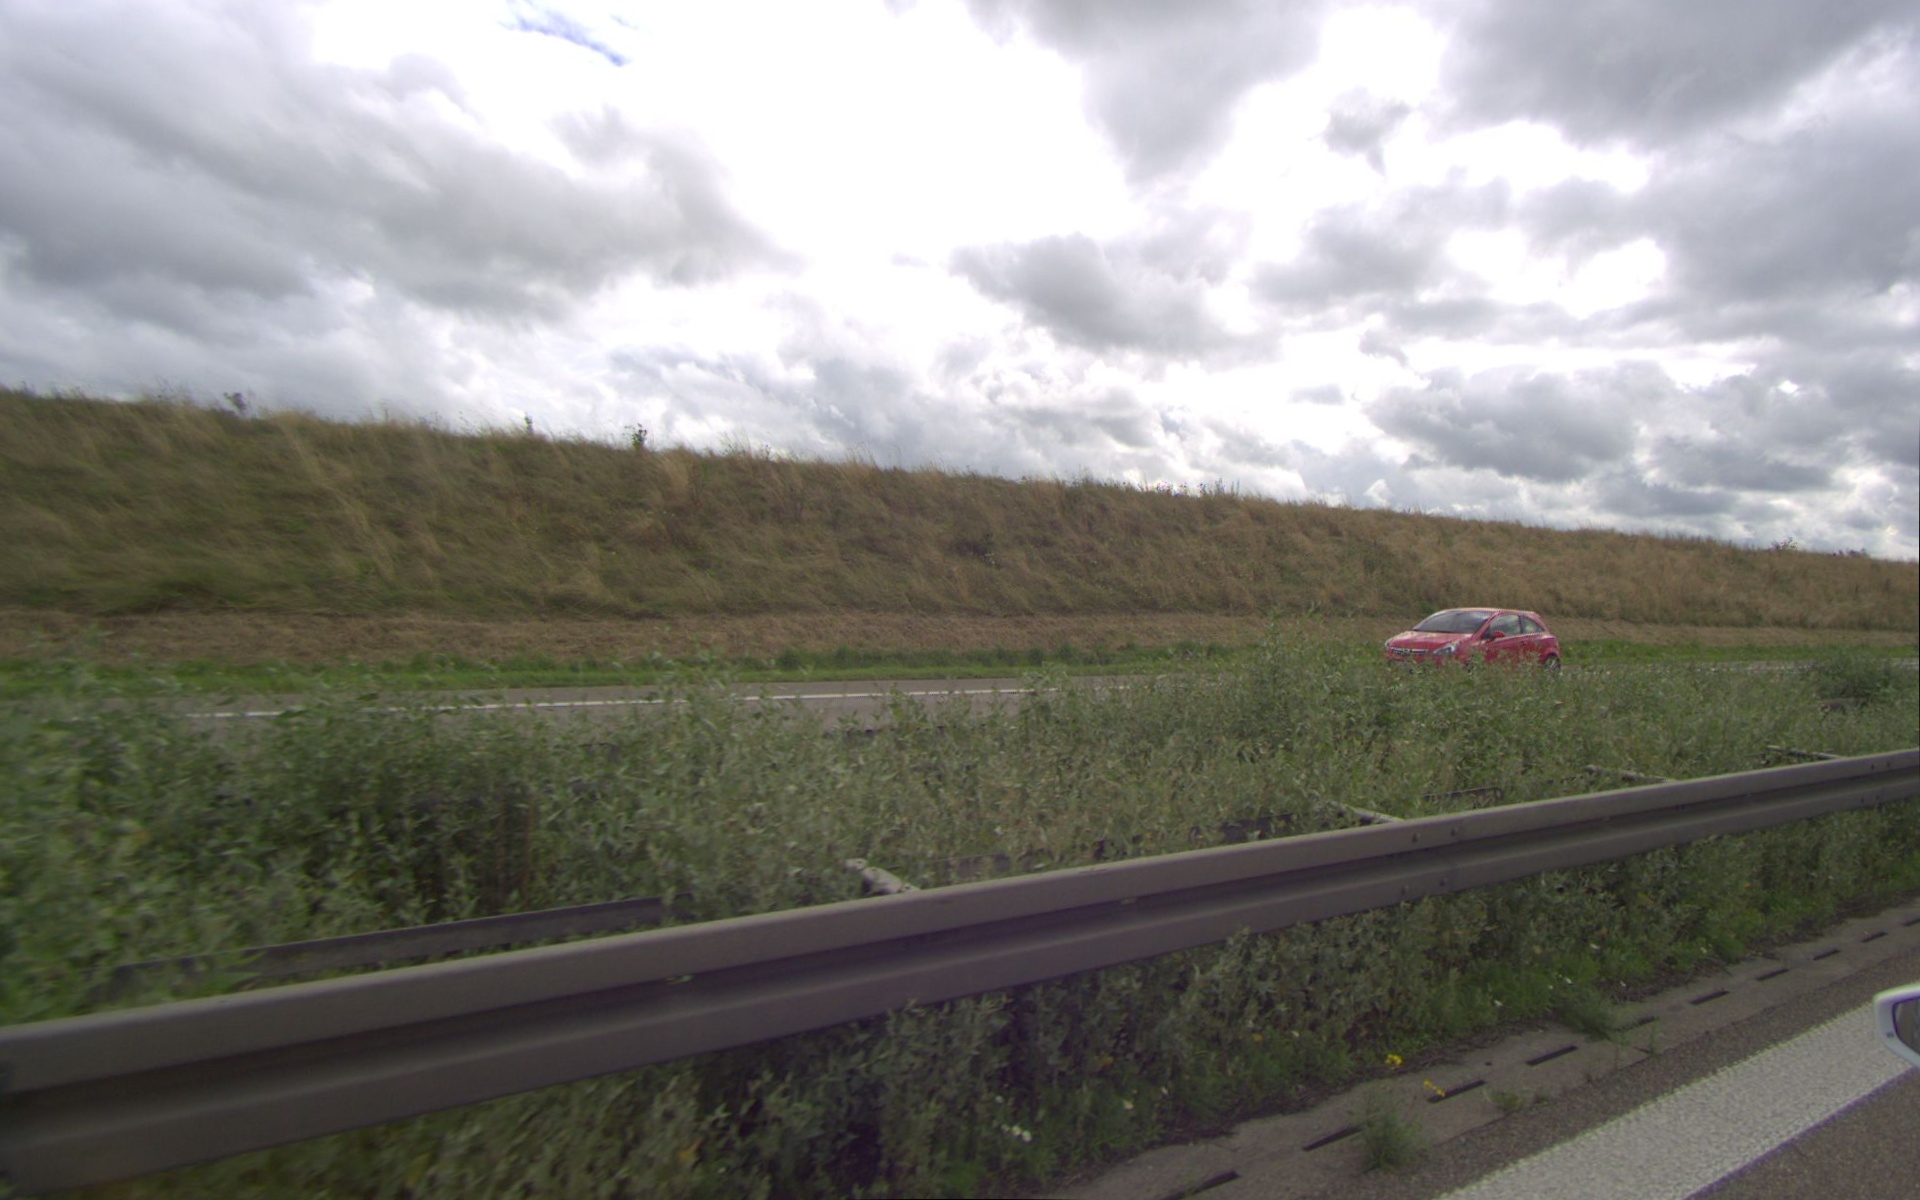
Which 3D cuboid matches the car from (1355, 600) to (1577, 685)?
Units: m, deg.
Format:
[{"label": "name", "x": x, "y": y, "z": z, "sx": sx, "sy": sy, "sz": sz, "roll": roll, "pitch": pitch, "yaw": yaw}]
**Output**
[{"label": "car", "x": 9.700, "y": 0.792, "z": 19.181, "sx": 4.291, "sy": 1.422, "sz": 1.716, "roll": 2, "pitch": 0, "yaw": -30}]
